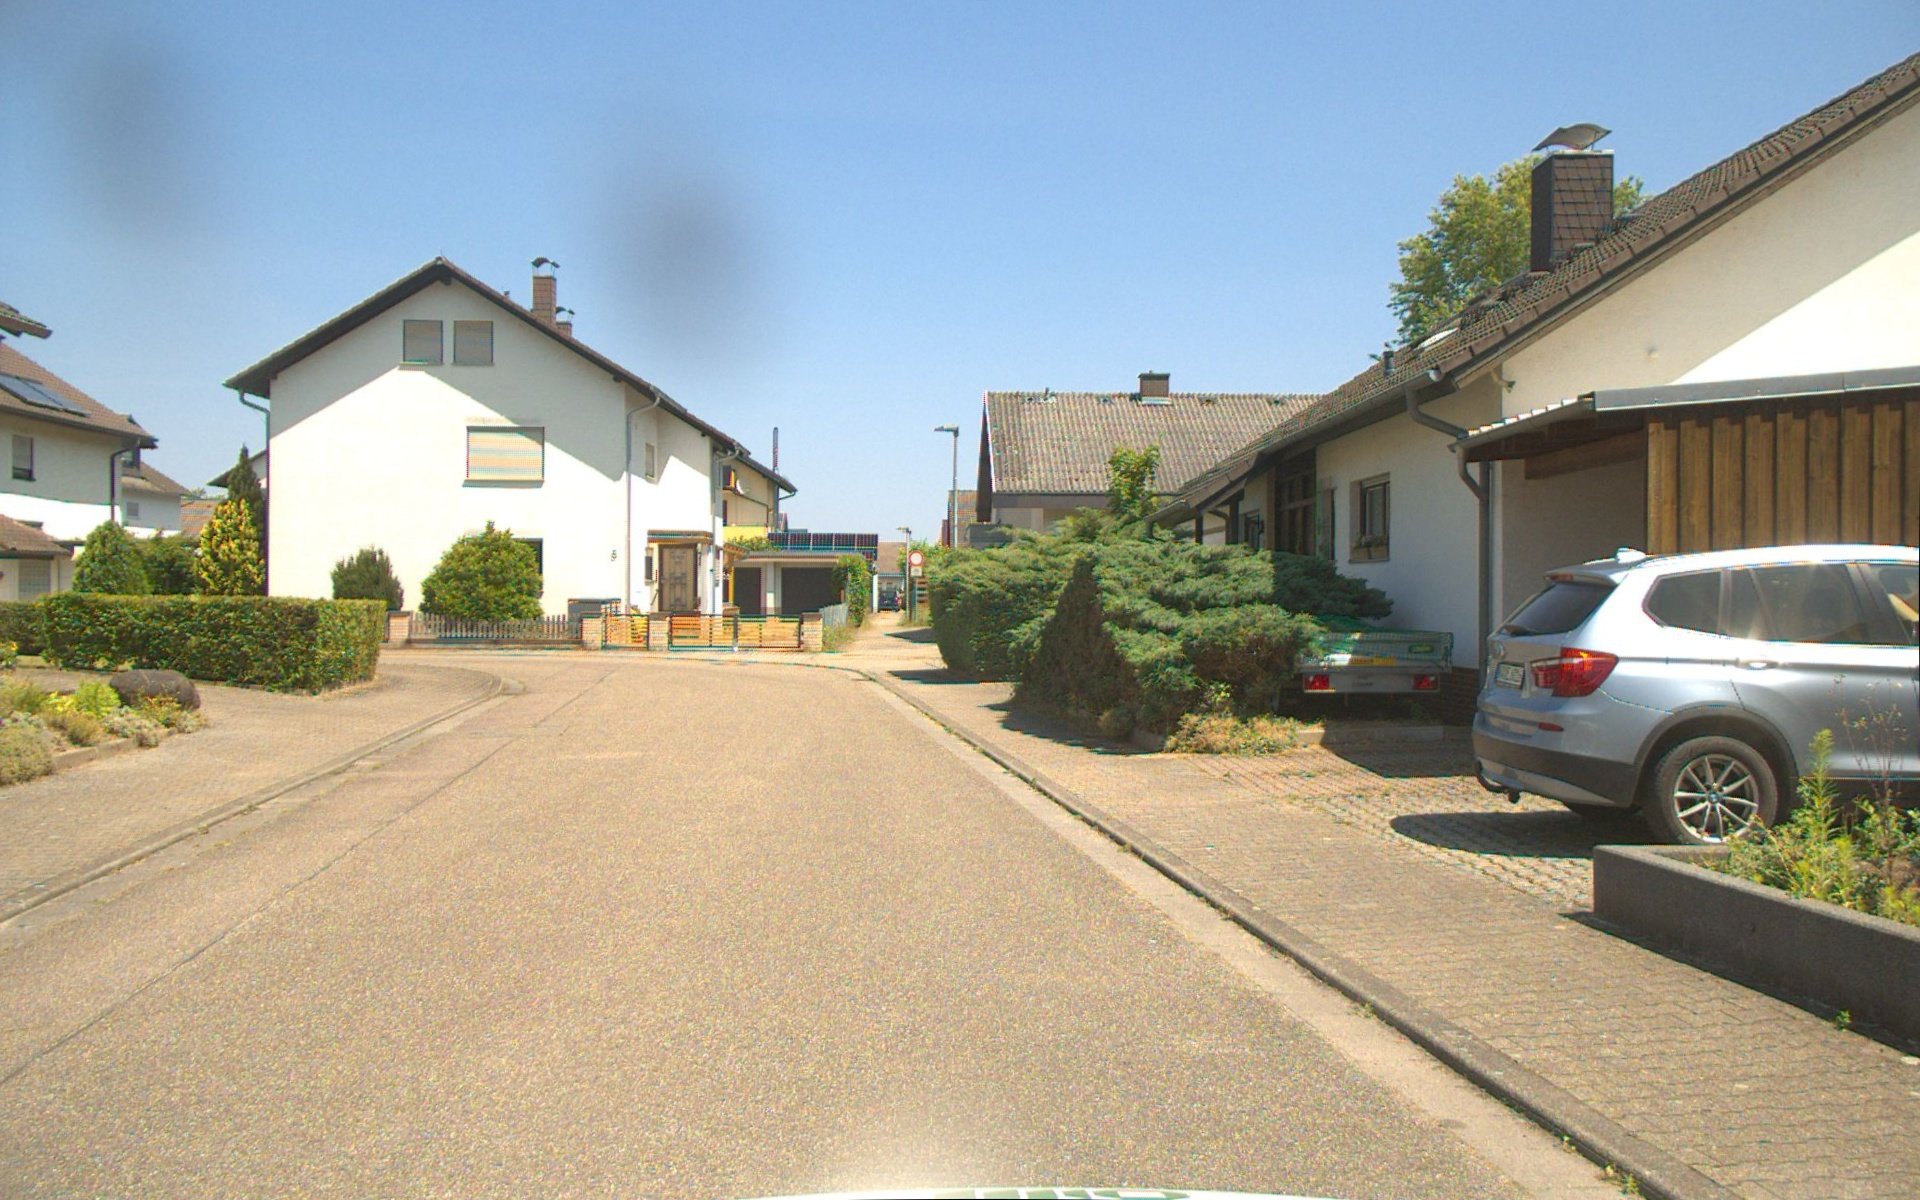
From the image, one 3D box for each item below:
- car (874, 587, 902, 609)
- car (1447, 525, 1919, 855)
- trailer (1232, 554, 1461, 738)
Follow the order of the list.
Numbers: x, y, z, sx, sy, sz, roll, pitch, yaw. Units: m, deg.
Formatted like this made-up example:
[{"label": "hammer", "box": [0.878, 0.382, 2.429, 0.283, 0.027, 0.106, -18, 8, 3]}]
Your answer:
[{"label": "car", "box": [-5.861, -0.150, 135.121, 2.149, 1.731, 3.806, 0, 0, -1]}, {"label": "car", "box": [5.403, 0.450, 9.773, 4.531, 1.732, 1.710, -2, 0, 1]}, {"label": "trailer", "box": [3.935, 0.408, 17.321, 1.555, 1.701, 3.296, -2, 1, -1]}]
